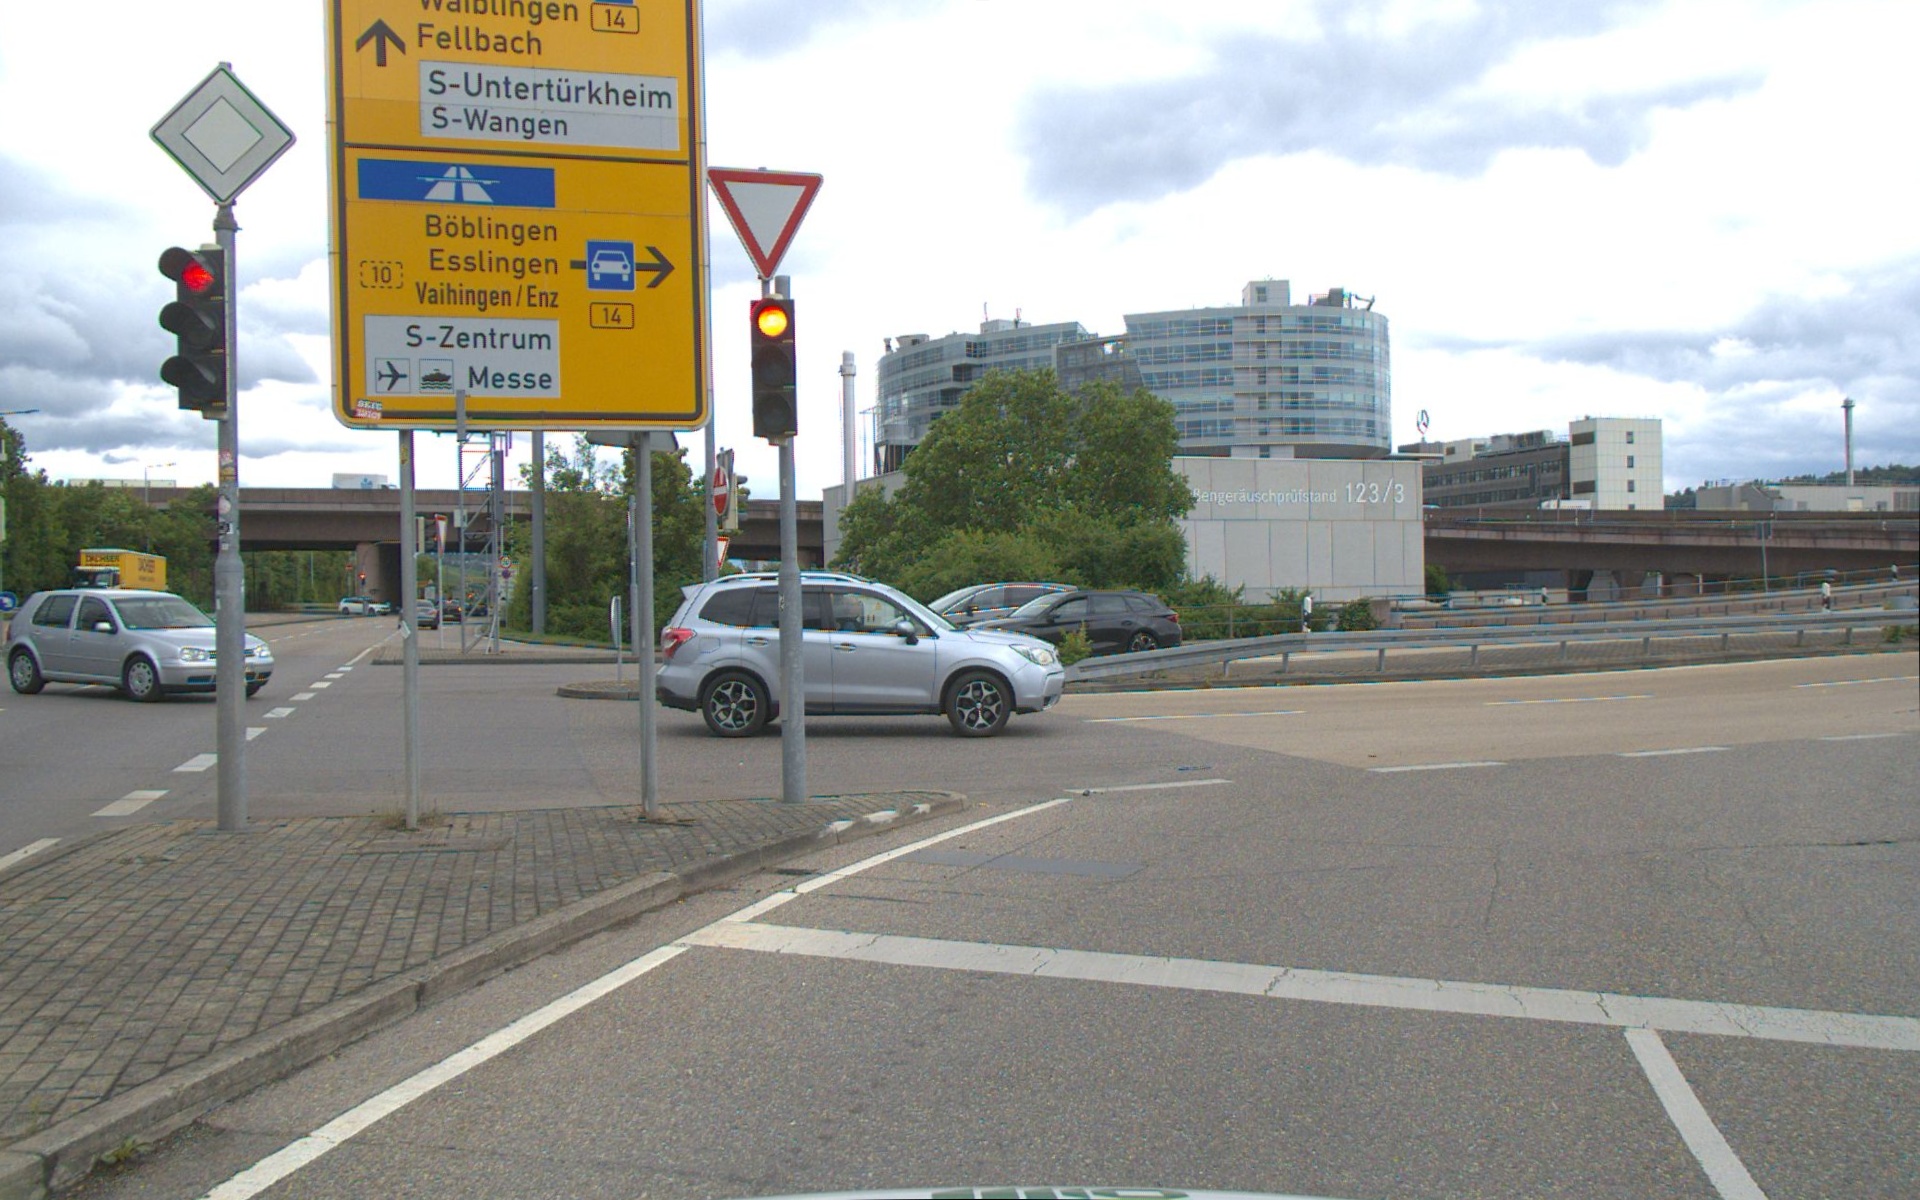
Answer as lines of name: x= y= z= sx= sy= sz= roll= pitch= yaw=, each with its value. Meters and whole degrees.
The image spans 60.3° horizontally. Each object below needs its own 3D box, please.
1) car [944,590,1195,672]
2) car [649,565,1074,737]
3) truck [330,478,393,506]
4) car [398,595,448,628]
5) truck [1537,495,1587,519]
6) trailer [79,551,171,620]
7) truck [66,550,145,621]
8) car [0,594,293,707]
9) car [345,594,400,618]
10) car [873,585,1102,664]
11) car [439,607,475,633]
car: x=2.133 y=0.554 z=32.227 sx=4.543 sy=1.482 sz=1.942 roll=0 pitch=1 yaw=-23
car: x=-1.000 y=0.527 z=18.164 sx=4.446 sy=1.767 sz=1.731 roll=0 pitch=1 yaw=2
truck: x=-54.151 y=-9.785 z=149.717 sx=4.953 sy=2.362 sz=2.001 roll=1 pitch=0 yaw=4
car: x=-25.786 y=0.577 z=79.479 sx=1.960 sy=1.467 sz=4.094 roll=1 pitch=-2 yaw=-14
truck: x=64.674 y=-9.978 z=177.688 sx=4.493 sy=2.209 sz=2.000 roll=3 pitch=0 yaw=1
trailer: x=-54.096 y=-0.945 z=107.458 sx=2.824 sy=4.155 sz=11.382 roll=2 pitch=0 yaw=-15
truck: x=-52.720 y=-0.900 z=102.218 sx=2.824 sy=4.155 sz=6.462 roll=2 pitch=0 yaw=-15
car: x=-11.290 y=0.649 z=22.809 sx=3.975 sy=1.425 sz=1.728 roll=0 pitch=1 yaw=28
car: x=-50.735 y=0.513 z=142.811 sx=3.903 sy=1.892 sz=2.001 roll=3 pitch=0 yaw=6
car: x=0.584 y=0.492 z=35.934 sx=4.608 sy=1.599 sz=1.945 roll=0 pitch=1 yaw=-19
car: x=-30.684 y=1.211 z=100.935 sx=1.960 sy=1.490 sz=4.093 roll=1 pitch=-2 yaw=-15
